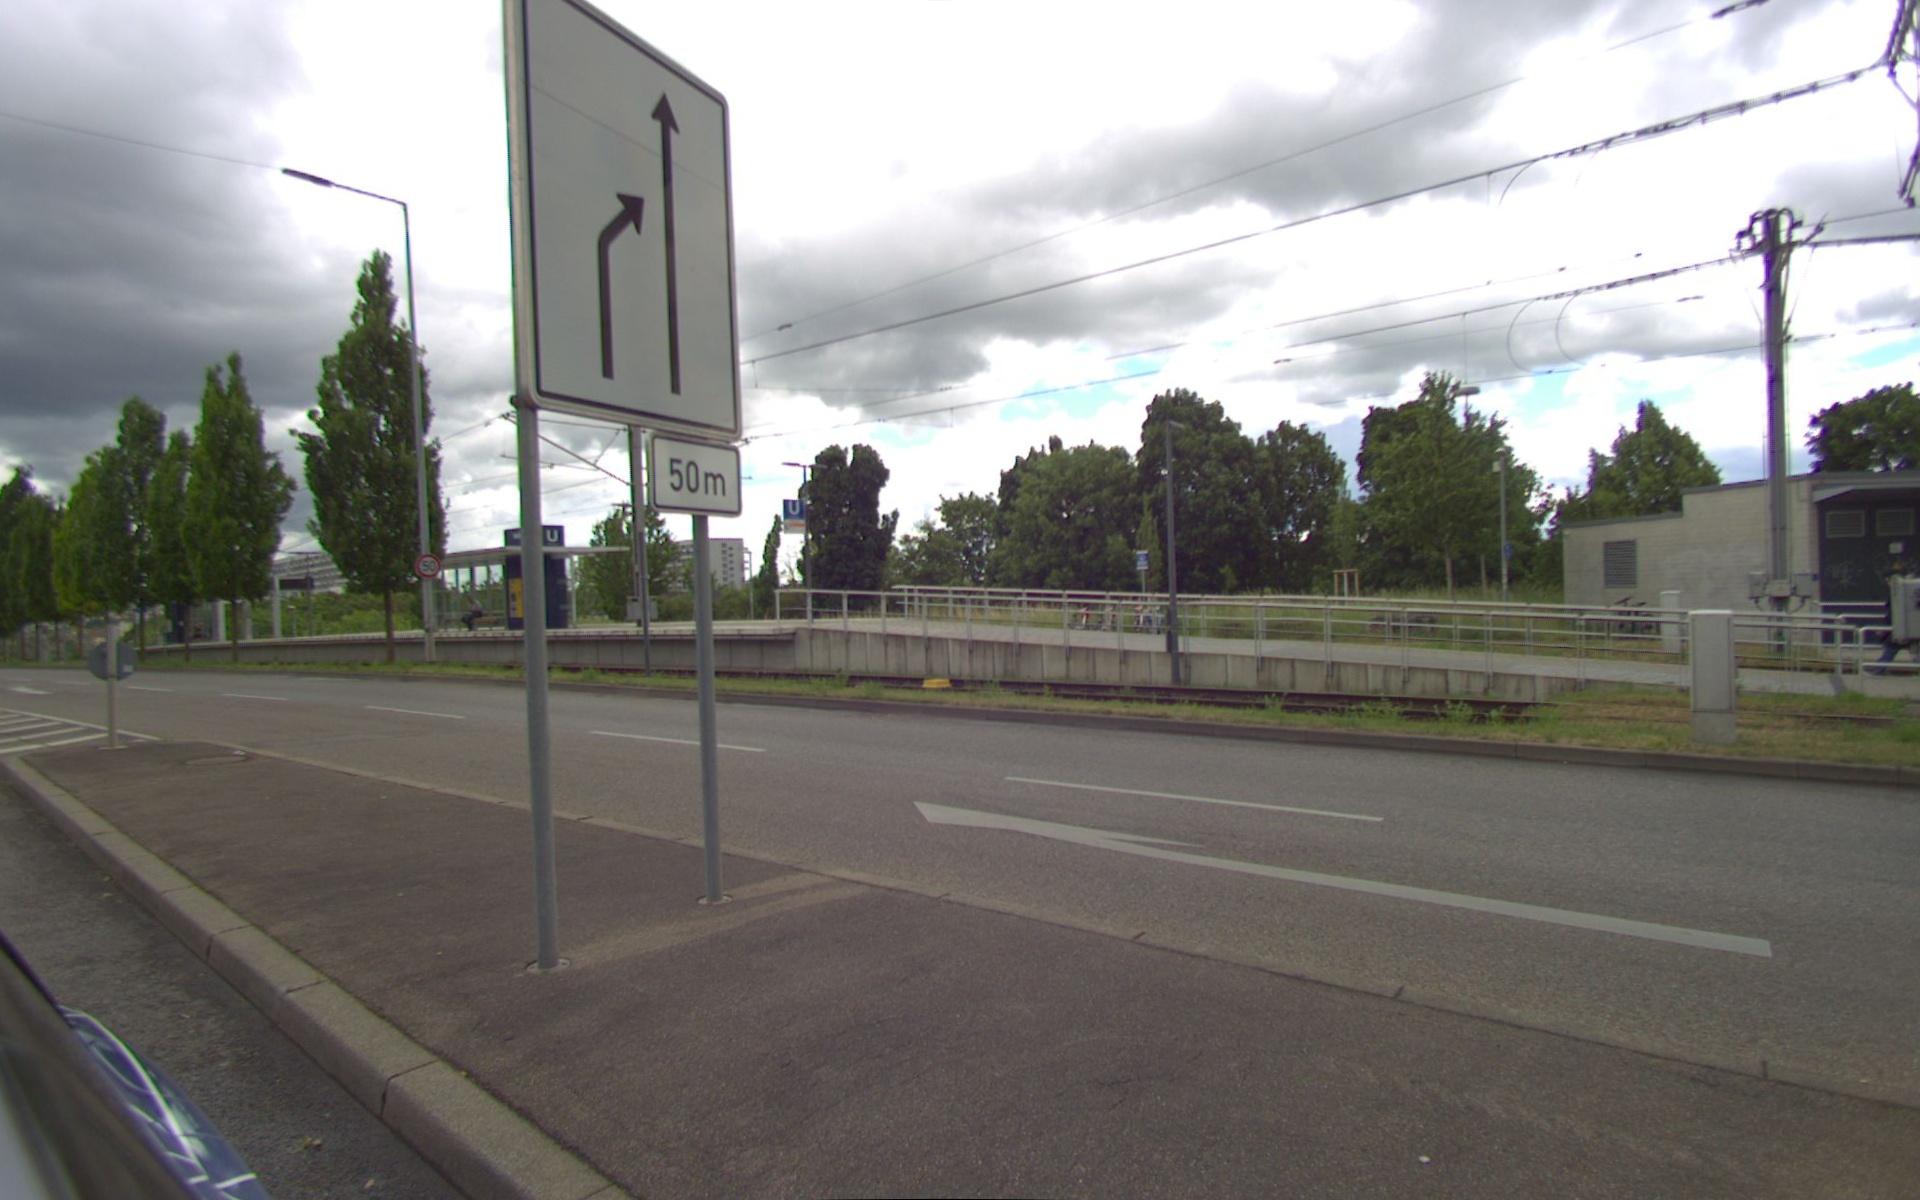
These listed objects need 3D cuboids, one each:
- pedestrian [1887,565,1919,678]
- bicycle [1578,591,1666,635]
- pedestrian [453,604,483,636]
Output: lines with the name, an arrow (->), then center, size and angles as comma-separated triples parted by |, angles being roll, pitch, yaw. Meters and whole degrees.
pedestrian -> 13.640, 0.296, 14.446 | 0.545, 1.584, 0.557 | 1, 1, 40
bicycle -> 17.925, 0.338, 27.480 | 0.668, 1.114, 2.260 | -1, 0, -7
pedestrian -> -18.592, 0.757, 38.266 | 0.837, 1.184, 0.741 | -1, 0, 40
